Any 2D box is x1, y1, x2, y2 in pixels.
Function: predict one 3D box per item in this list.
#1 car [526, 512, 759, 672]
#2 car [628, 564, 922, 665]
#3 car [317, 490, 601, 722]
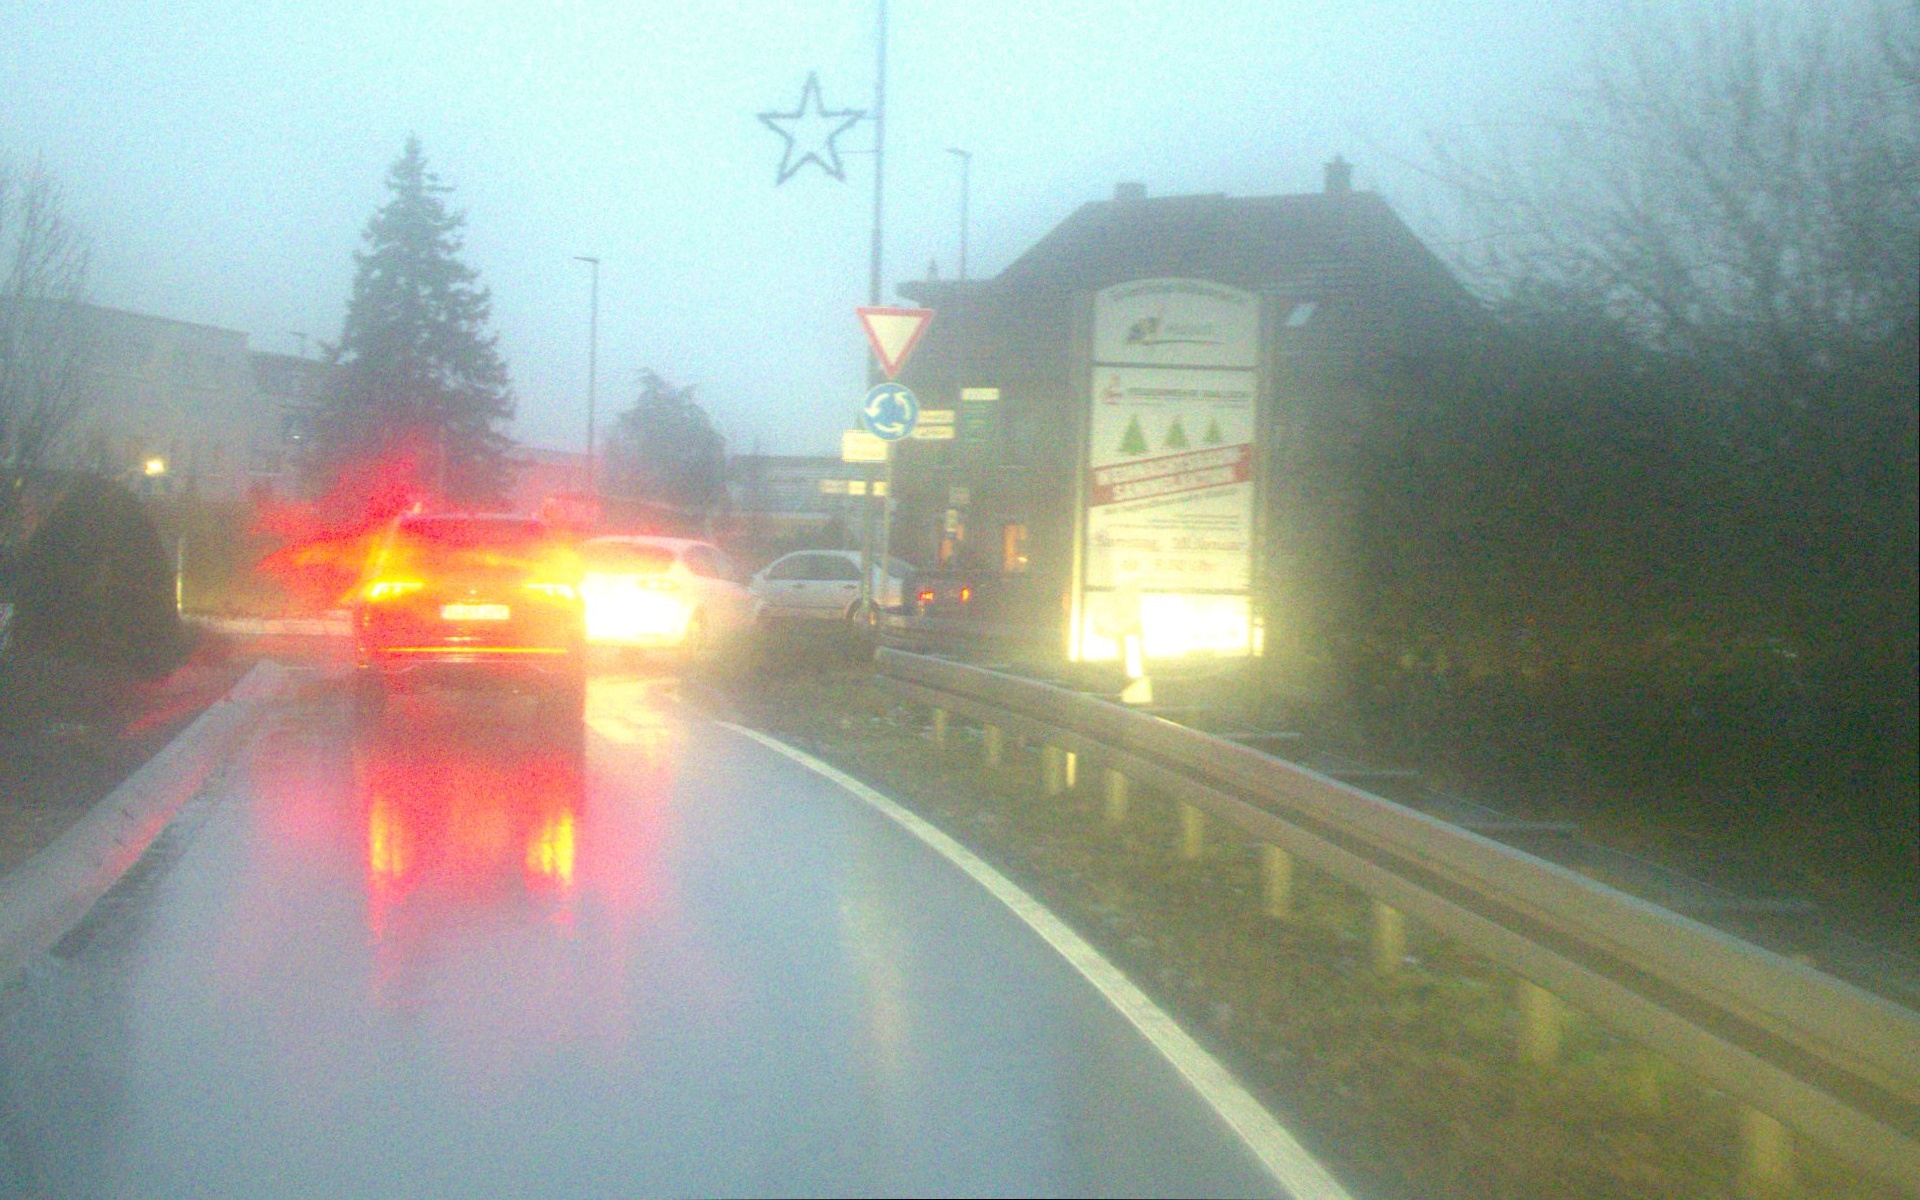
[{"bbox_3d":[-3.666,-0.148,40.483,2.163,1.683,4.571,2,2,2],"label":"car"},{"bbox_3d":[-3.101,0.239,57.544,4.563,1.609,1.886,0,-1,26],"label":"car"},{"bbox_3d":[-4.185,0.018,28.226,1.944,1.712,4.001,2,1,-13],"label":"car"}]
